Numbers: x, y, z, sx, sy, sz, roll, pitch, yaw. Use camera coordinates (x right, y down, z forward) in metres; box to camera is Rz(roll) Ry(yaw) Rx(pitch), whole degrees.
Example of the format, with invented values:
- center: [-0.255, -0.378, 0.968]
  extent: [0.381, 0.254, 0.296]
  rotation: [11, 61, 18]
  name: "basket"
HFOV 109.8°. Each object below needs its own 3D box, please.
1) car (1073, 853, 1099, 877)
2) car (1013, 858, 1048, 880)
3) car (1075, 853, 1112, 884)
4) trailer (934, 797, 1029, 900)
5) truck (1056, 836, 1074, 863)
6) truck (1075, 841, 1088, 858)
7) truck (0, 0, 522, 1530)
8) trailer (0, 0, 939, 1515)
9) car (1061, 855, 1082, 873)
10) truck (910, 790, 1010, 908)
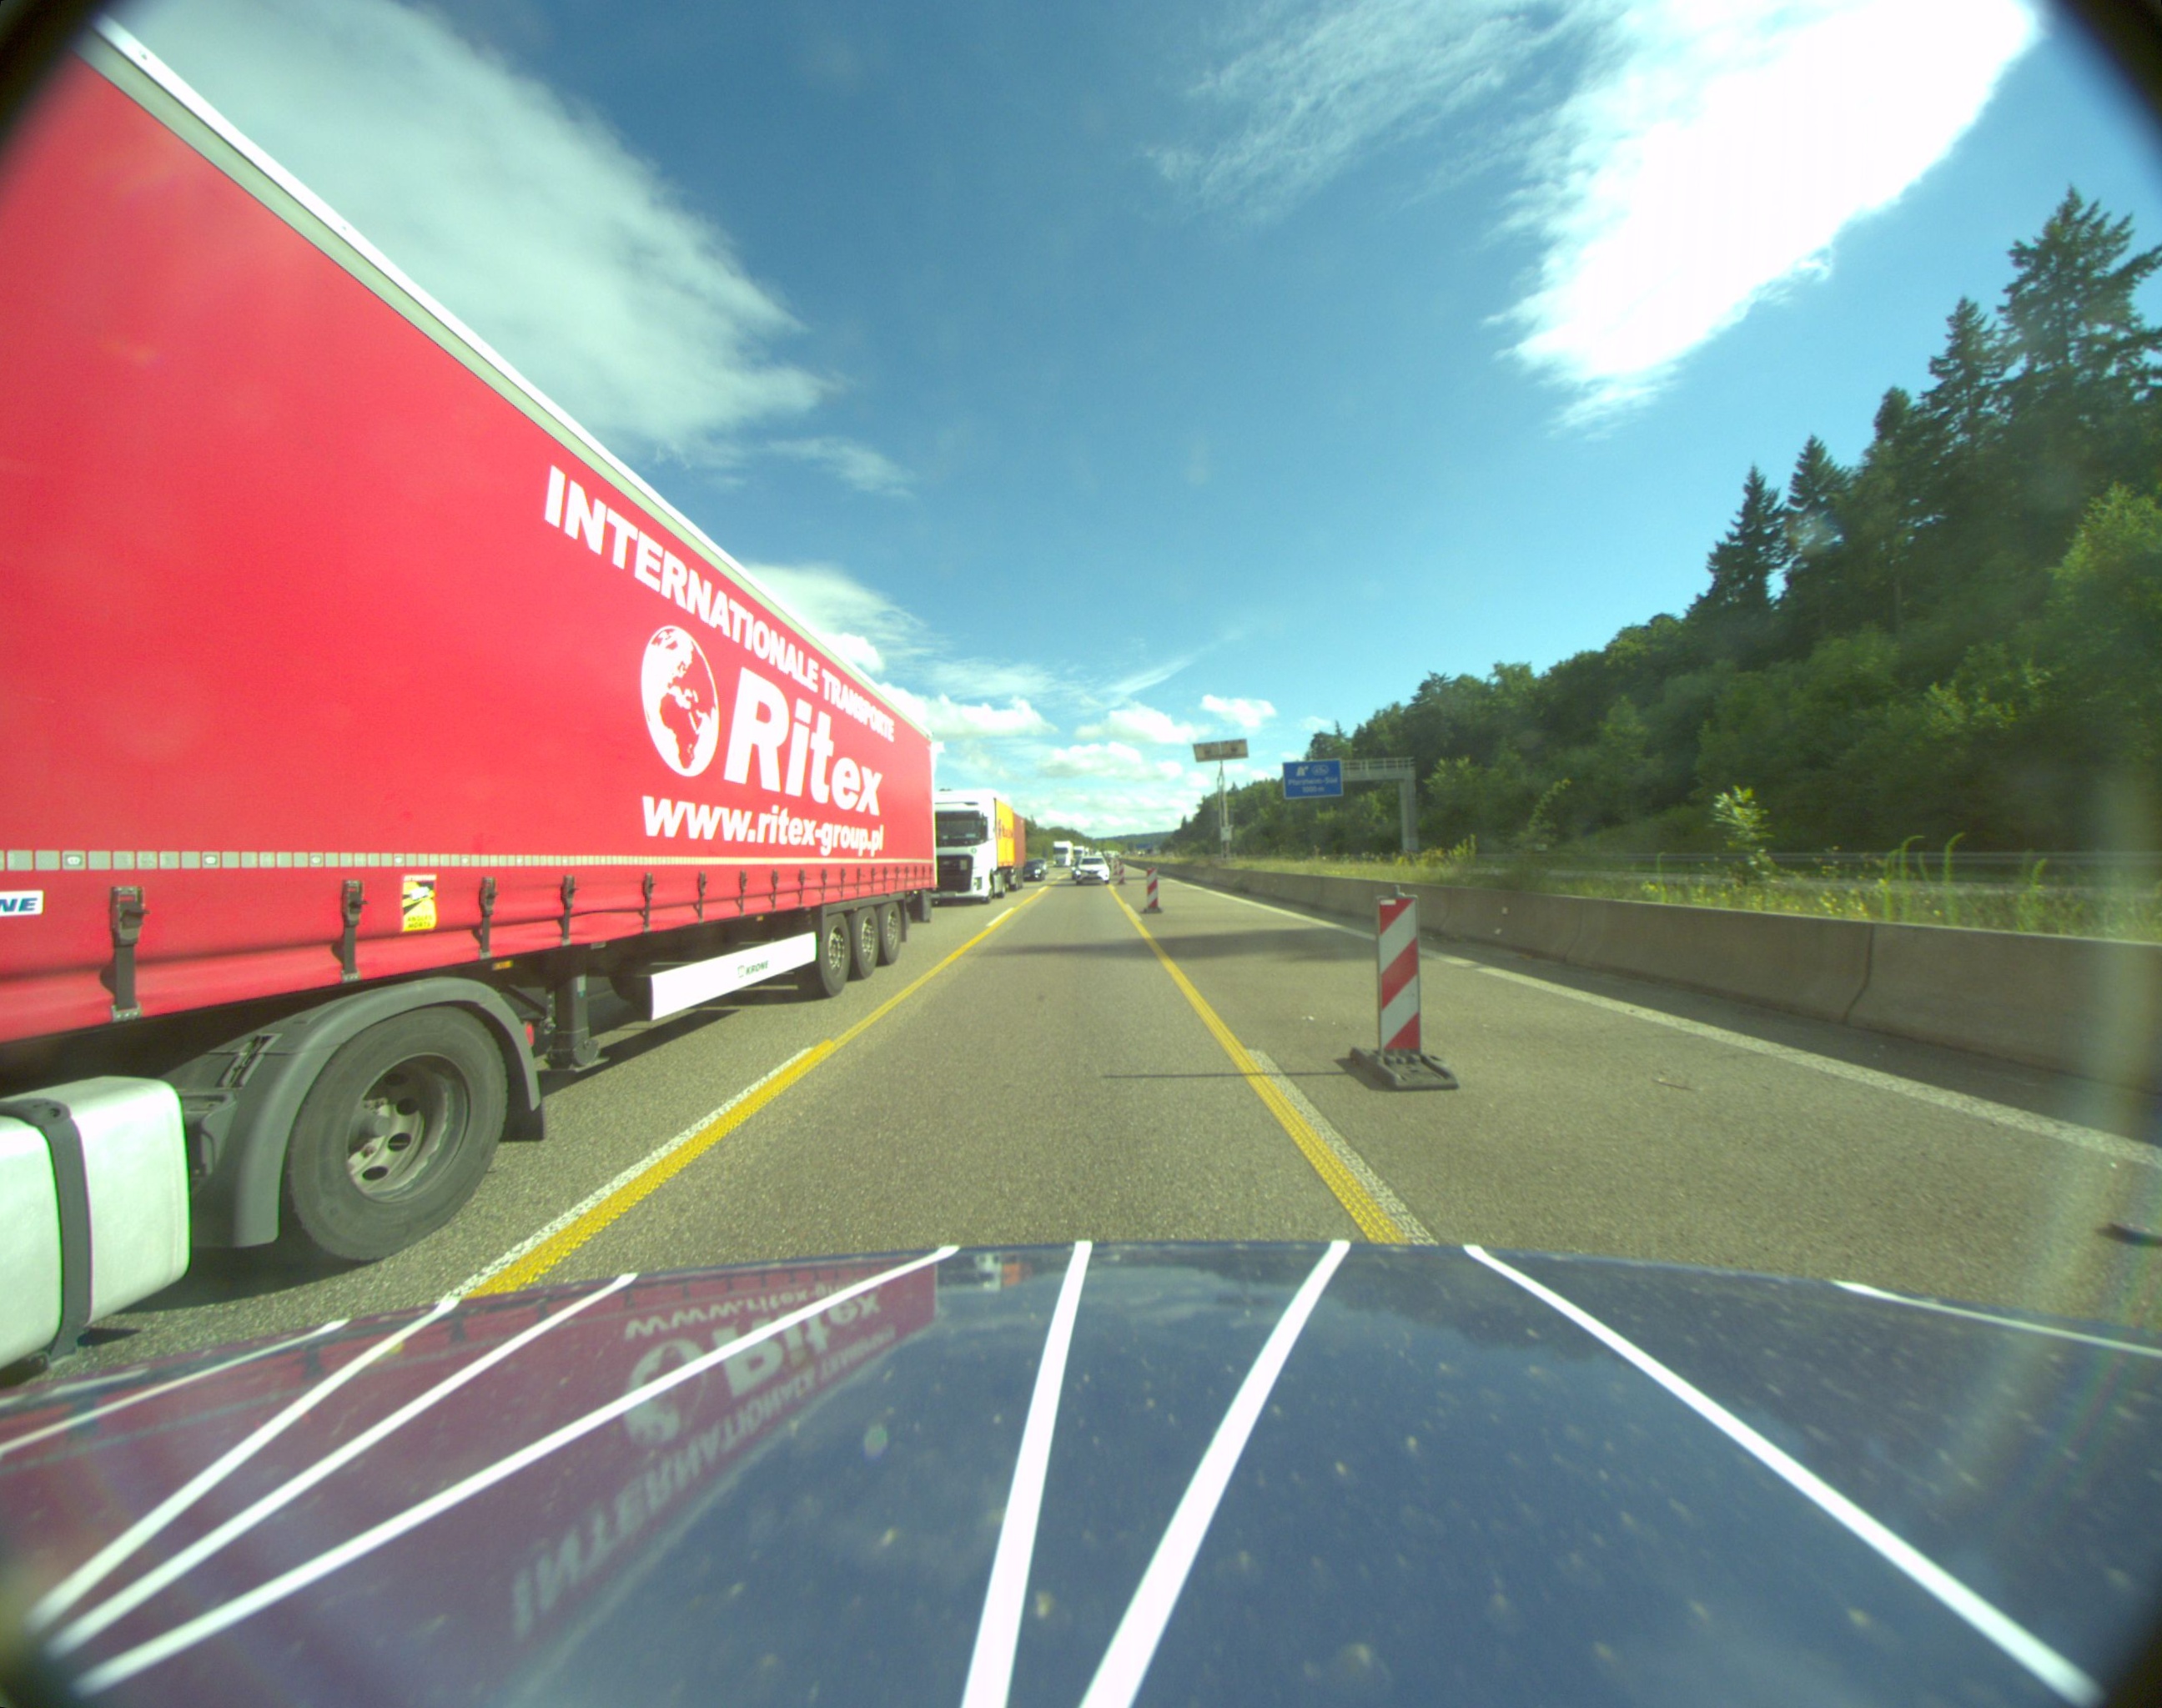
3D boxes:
- center: [0.361, 0.735, 52.840]
  extent: [1.692, 1.471, 3.754]
  rotation: [-1, 1, 1]
  name: "car"
- center: [-3.362, 0.969, 50.907]
  extent: [1.933, 1.342, 4.477]
  rotation: [-2, 0, 1]
  name: "car"
- center: [0.644, 0.782, 41.929]
  extent: [1.840, 1.528, 3.882]
  rotation: [-2, 1, -1]
  name: "car"
- center: [-4.145, -0.236, 34.571]
  extent: [2.478, 3.753, 12.135]
  rotation: [-2, 0, 1]
  name: "trailer"
- center: [-2.584, -0.659, 122.583]
  extent: [2.641, 4.092, 8.194]
  rotation: [-2, 0, -1]
  name: "truck"
- center: [0.147, -1.068, 186.529]
  extent: [2.640, 4.092, 8.196]
  rotation: [-2, 0, 3]
  name: "truck"
- center: [-4.084, -0.237, 0.760]
  extent: [2.675, 3.936, 5.710]
  rotation: [-2, 0, 0]
  name: "truck"
- center: [-4.109, -0.307, 7.758]
  extent: [2.707, 3.945, 13.416]
  rotation: [-2, 0, 0]
  name: "trailer"
- center: [-0.854, 0.854, 68.725]
  extent: [1.762, 1.471, 3.967]
  rotation: [-1, 1, 1]
  name: "car"
- center: [-4.219, -0.177, 27.706]
  extent: [2.501, 3.759, 5.789]
  rotation: [-2, 1, 1]
  name: "truck"
